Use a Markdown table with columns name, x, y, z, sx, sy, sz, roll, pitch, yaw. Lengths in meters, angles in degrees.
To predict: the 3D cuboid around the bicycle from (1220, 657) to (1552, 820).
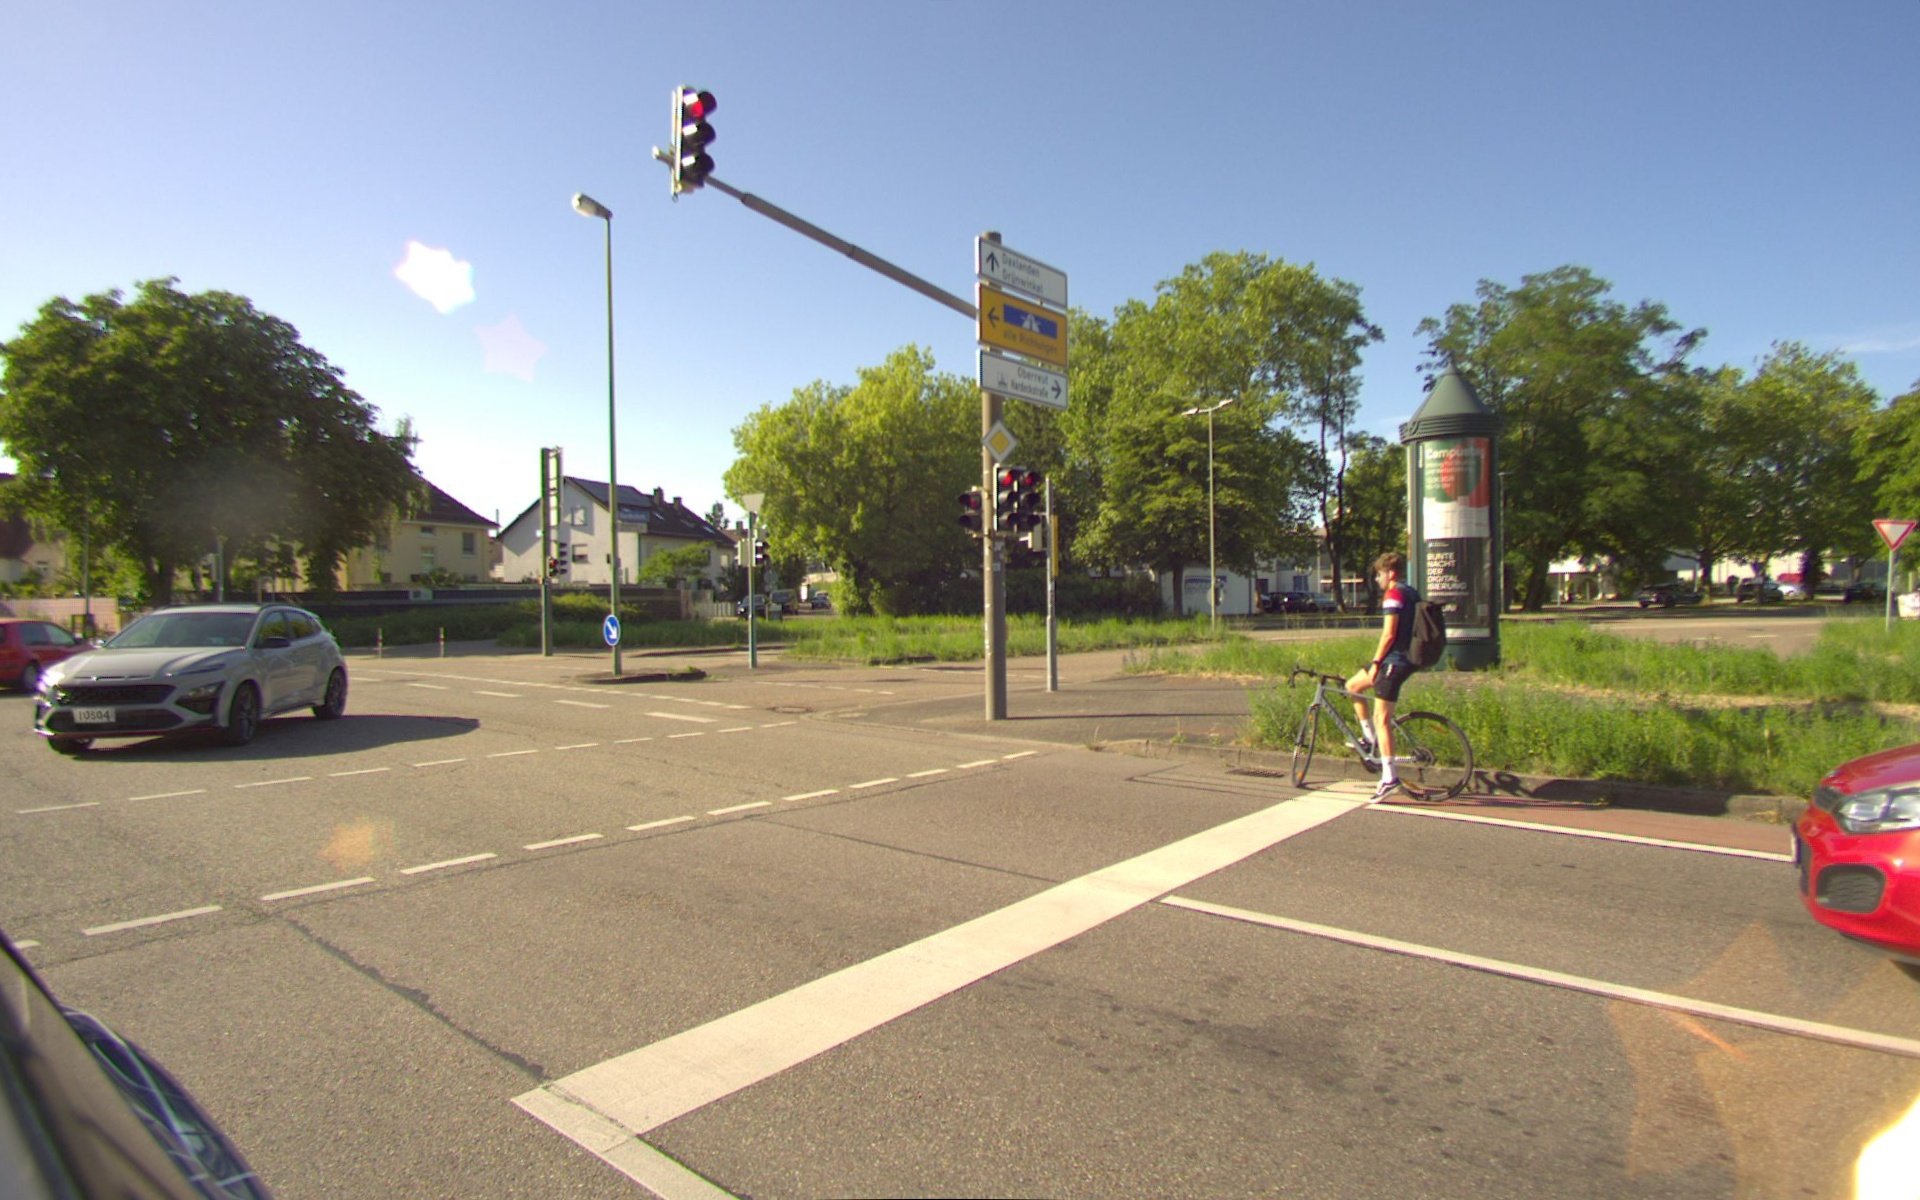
| name | x | y | z | sx | sy | sz | roll | pitch | yaw |
| --- | --- | --- | --- | --- | --- | --- | --- | --- | --- |
| bicycle | 3.270 | 0.999 | 7.903 | 2.195 | 1.024 | 0.928 | -2 | -1 | 40 |

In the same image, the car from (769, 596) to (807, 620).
| name | x | y | z | sx | sy | sz | roll | pitch | yaw |
| --- | --- | --- | --- | --- | --- | --- | --- | --- | --- |
| car | -12.755 | 0.566 | 75.332 | 1.937 | 1.679 | 3.997 | -1 | 0 | 3 |

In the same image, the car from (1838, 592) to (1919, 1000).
| name | x | y | z | sx | sy | sz | roll | pitch | yaw |
| --- | --- | --- | --- | --- | --- | --- | --- | --- | --- |
| car | 5.325 | 0.660 | 3.086 | 3.886 | 1.425 | 1.767 | -1 | -1 | 39 |

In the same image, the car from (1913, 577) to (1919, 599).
| name | x | y | z | sx | sy | sz | roll | pitch | yaw |
| --- | --- | --- | --- | --- | --- | --- | --- | --- | --- |
| car | 66.085 | -0.848 | 68.022 | 3.423 | 1.451 | 1.879 | -2 | 2 | -28 |

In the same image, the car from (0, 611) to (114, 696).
| name | x | y | z | sx | sy | sz | roll | pitch | yaw |
| --- | --- | --- | --- | --- | --- | --- | --- | --- | --- |
| car | -18.706 | 0.974 | 19.848 | 1.831 | 1.481 | 4.151 | 1 | -1 | -18 |

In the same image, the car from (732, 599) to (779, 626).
| name | x | y | z | sx | sy | sz | roll | pitch | yaw |
| --- | --- | --- | --- | --- | --- | --- | --- | --- | --- |
| car | -12.926 | 0.755 | 64.255 | 1.973 | 1.568 | 3.997 | -2 | 0 | 3 |

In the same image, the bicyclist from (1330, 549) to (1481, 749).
| name | x | y | z | sx | sy | sz | roll | pitch | yaw |
| --- | --- | --- | --- | --- | --- | --- | --- | --- | --- |
| bicyclist | 3.424 | 0.347 | 7.761 | 0.821 | 1.412 | 0.924 | -2 | -1 | 39 |

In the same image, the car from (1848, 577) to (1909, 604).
| name | x | y | z | sx | sy | sz | roll | pitch | yaw |
| --- | --- | --- | --- | --- | --- | --- | --- | --- | --- |
| car | 60.231 | -0.649 | 66.358 | 3.931 | 1.631 | 1.744 | -2 | 2 | -28 |

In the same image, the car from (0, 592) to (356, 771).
| name | x | y | z | sx | sy | sz | roll | pitch | yaw |
| --- | --- | --- | --- | --- | --- | --- | --- | --- | --- |
| car | -8.906 | 0.778 | 12.014 | 1.688 | 1.658 | 4.065 | -2 | 1 | -12 |

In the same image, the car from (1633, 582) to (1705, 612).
| name | x | y | z | sx | sy | sz | roll | pitch | yaw |
| --- | --- | --- | --- | --- | --- | --- | --- | --- | --- |
| car | 46.039 | -0.223 | 65.686 | 3.931 | 1.809 | 2.017 | -2 | 0 | -24 |

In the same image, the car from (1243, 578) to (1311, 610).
| name | x | y | z | sx | sy | sz | roll | pitch | yaw |
| --- | --- | --- | --- | --- | --- | --- | --- | --- | --- |
| car | 21.496 | -0.417 | 68.716 | 1.967 | 2.029 | 4.009 | -1 | 0 | -36 |

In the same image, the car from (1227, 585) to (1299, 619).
| name | x | y | z | sx | sy | sz | roll | pitch | yaw |
| --- | --- | --- | --- | --- | --- | --- | --- | --- | --- |
| car | 19.368 | 0.133 | 64.833 | 1.967 | 2.029 | 4.009 | -1 | 0 | -36 |
